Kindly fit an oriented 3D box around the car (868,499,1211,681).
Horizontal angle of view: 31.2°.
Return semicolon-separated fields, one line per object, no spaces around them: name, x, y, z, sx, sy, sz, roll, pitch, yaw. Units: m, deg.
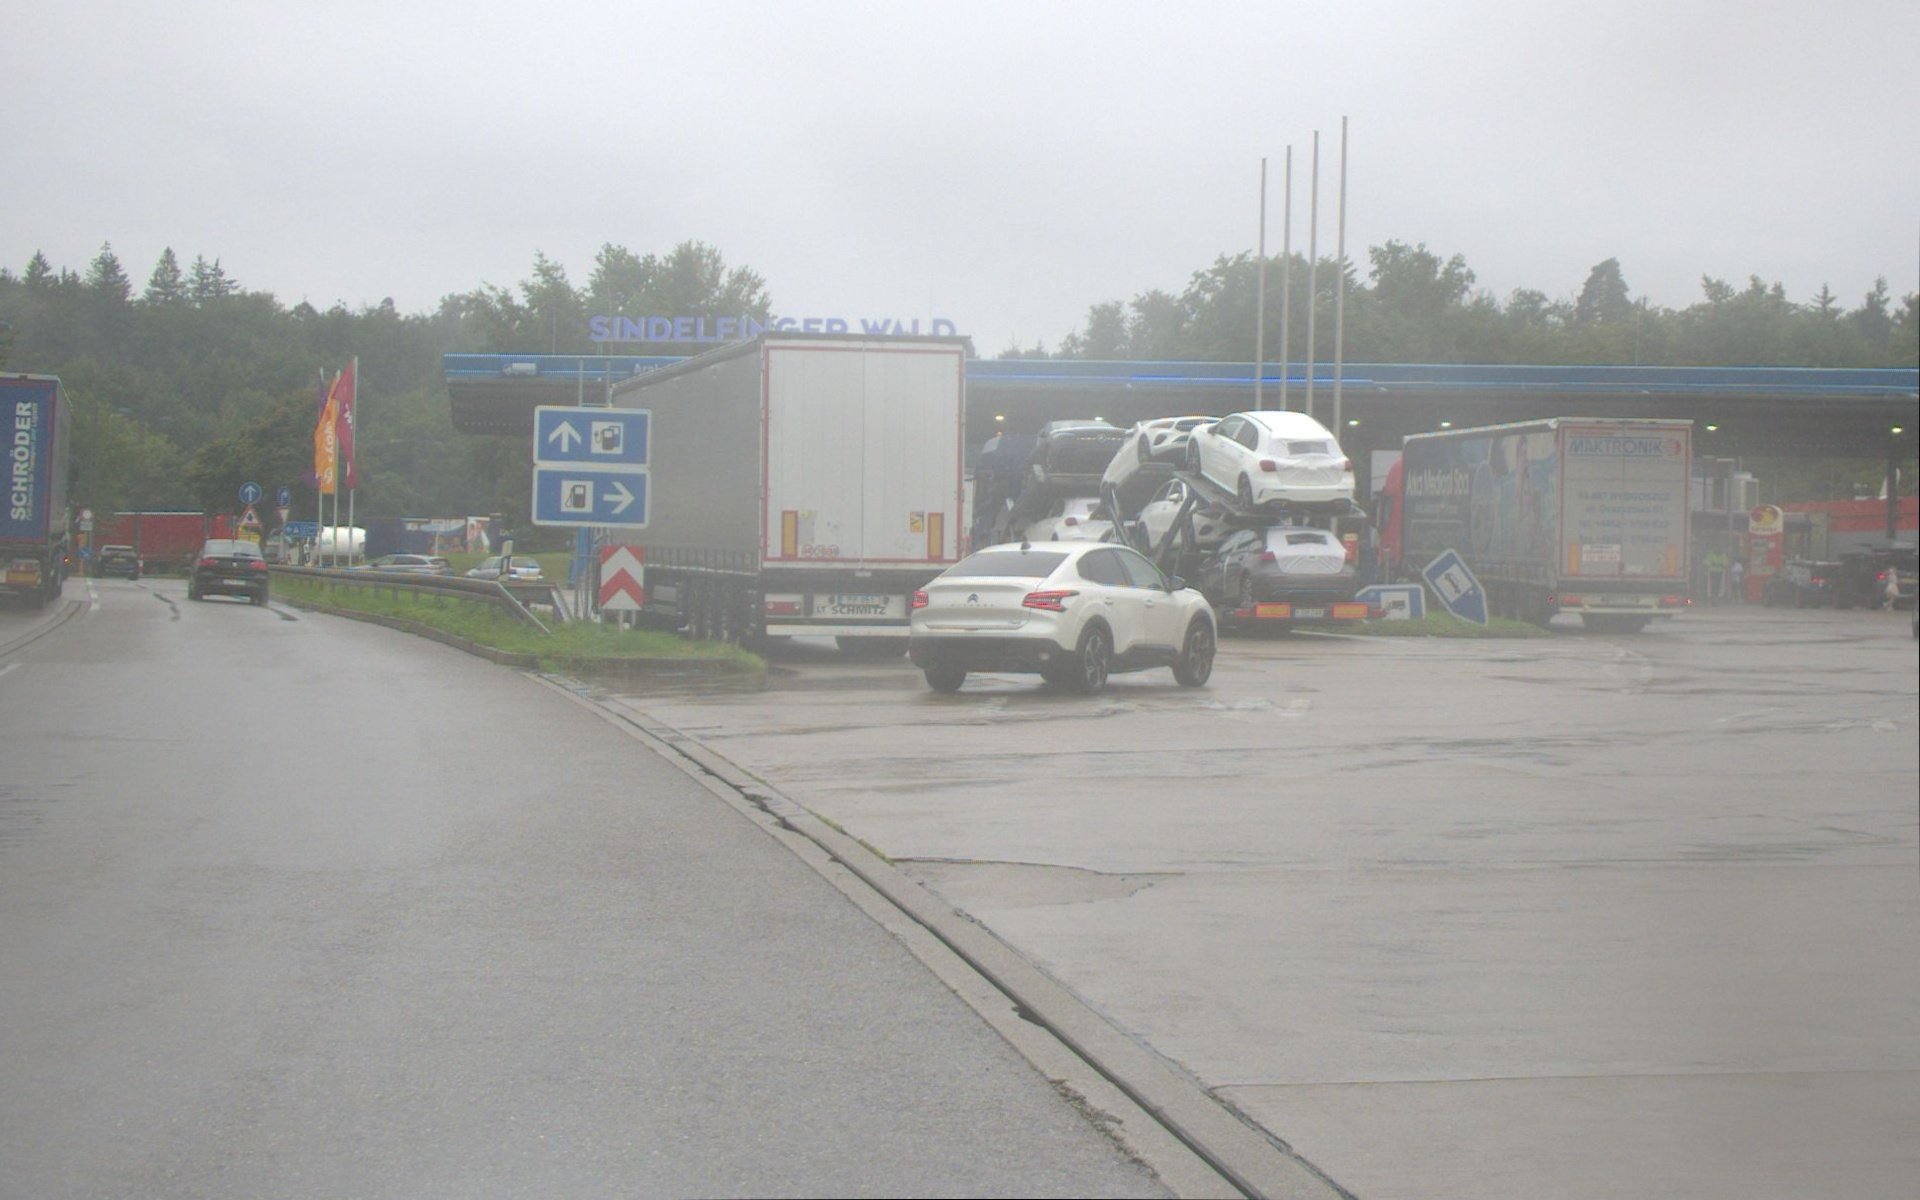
car;0.870;-0.108;34.589;1.996;1.673;3.995;2;1;24

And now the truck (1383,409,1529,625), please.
truck;10.848;-1.795;75.537;1.988;4.534;4.796;1;0;-5

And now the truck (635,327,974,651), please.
truck;-2.430;-1.476;47.458;2.370;3.861;12.459;0;1;-13

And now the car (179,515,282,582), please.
car;-16.850;-1.187;79.573;1.878;1.456;4.001;2;0;-6

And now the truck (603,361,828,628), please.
truck;-3.905;-1.612;53.429;2.370;3.861;7.014;0;1;-13

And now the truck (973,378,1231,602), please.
truck;2.749;-2.224;70.051;3.233;4.174;8.446;2;1;-11

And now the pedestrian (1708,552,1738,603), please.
pedestrian;23.718;-0.686;106.815;0.719;1.516;0.742;3;-1;21

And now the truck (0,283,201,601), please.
truck;-16.725;-2.816;63.390;4.790;5.287;11.074;1;1;-15

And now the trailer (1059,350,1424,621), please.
trailer;4.644;-1.968;60.217;3.215;4.174;11.533;2;1;-11

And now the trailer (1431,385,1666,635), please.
trailer;11.521;-1.716;68.259;1.993;4.543;9.811;1;0;-5

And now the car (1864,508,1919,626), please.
car;18.133;-0.562;62.627;1.993;2.007;4.000;4;-1;-3
